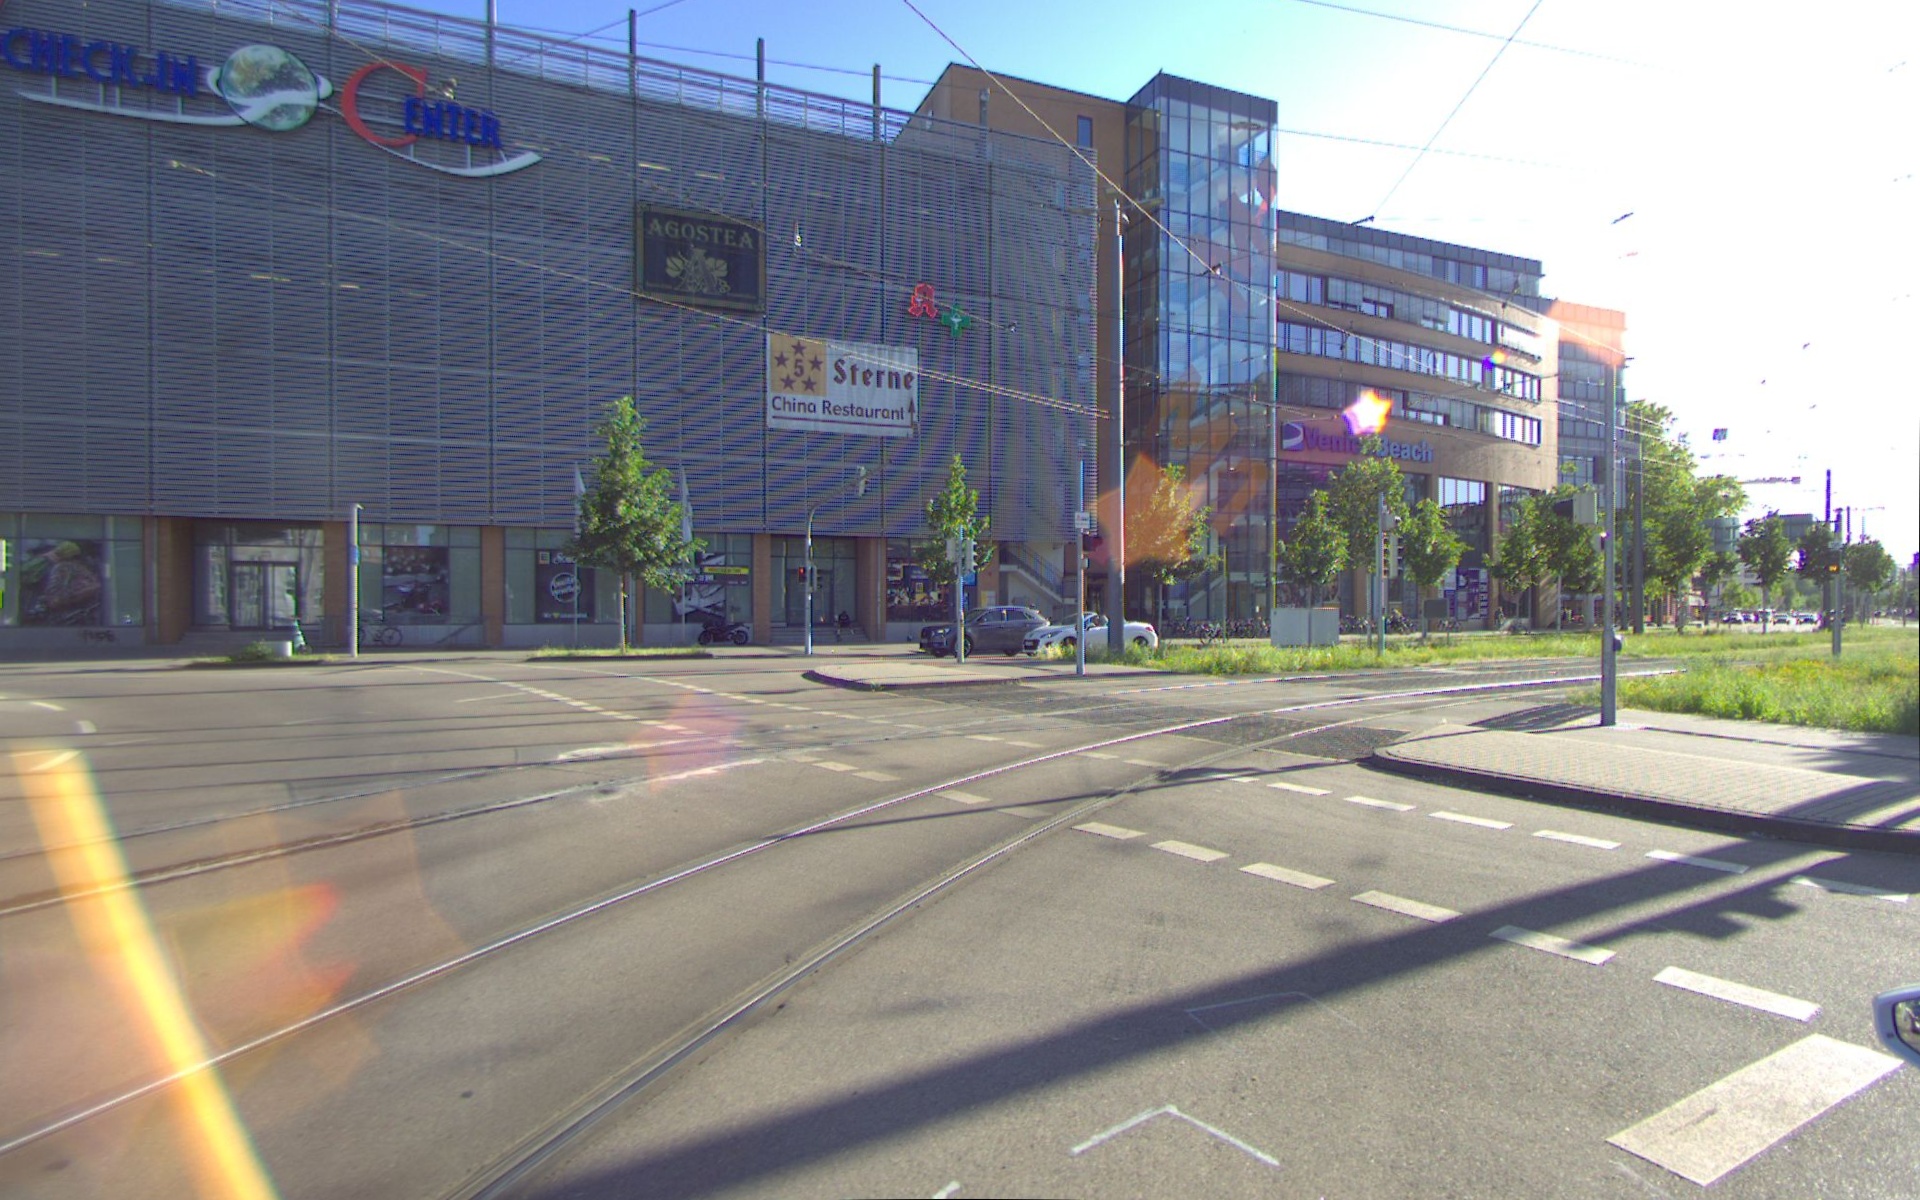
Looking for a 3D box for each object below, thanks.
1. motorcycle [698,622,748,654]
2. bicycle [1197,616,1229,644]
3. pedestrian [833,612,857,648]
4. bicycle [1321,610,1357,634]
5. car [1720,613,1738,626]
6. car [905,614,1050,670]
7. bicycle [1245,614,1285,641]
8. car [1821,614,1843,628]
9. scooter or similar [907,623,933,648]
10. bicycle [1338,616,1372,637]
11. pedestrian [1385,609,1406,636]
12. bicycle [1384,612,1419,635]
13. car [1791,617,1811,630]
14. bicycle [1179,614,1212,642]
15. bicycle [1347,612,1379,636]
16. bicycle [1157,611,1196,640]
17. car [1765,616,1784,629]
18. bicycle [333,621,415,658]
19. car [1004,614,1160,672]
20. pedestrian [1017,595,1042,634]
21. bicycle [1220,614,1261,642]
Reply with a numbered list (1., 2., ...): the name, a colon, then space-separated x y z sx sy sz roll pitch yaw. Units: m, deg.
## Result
1. motorcycle: -9.548 1.503 40.447 1.867 1.255 0.674 0 0 -24
2. bicycle: 13.332 1.584 53.010 0.793 1.452 1.979 0 0 -13
3. pedestrian: -5.176 1.339 45.185 0.817 1.586 0.985 1 -1 -22
4. bicycle: 23.194 1.349 61.509 0.758 1.452 2.609 0 -1 -13
5. car: 107.571 2.764 140.455 1.969 1.706 3.983 0 0 38
6. car: 0.549 1.323 32.811 4.344 1.662 1.991 0 1 -20
7. bicycle: 16.441 1.468 54.239 0.889 1.452 2.563 0 -1 -13
8. car: 115.116 2.793 132.583 1.969 1.706 3.983 0 0 38
9. scooter or similar: -1.800 1.594 45.248 1.135 1.124 0.420 1 -1 -22
10. bicycle: 24.430 1.603 62.213 0.732 1.252 2.415 0 -1 -13
11. pedestrian: 26.838 1.383 61.949 0.958 1.608 0.810 -1 1 -31
12. bicycle: 28.066 1.468 63.904 0.775 1.452 2.422 0 0 -13
13. car: 114.328 3.181 136.611 1.969 1.706 3.983 0 0 38
14. bicycle: 12.311 1.462 52.621 0.846 1.452 2.084 0 0 -13
15. bicycle: 25.147 1.495 62.677 0.706 1.452 2.247 0 0 -13
16. bicycle: 11.277 1.319 52.360 1.058 1.452 2.371 0 0 -13
17. car: 112.412 3.140 138.628 1.969 1.706 3.983 0 0 38
18. bicycle: -20.586 1.376 35.344 2.378 1.237 0.799 0 1 -20
19. car: 3.802 1.274 31.204 4.470 1.566 1.987 -1 1 -27
20. pedestrian: 3.269 0.691 47.266 0.891 1.848 0.825 1 -1 -21
21. bicycle: 15.029 1.502 53.924 1.058 1.452 2.461 0 -1 -13
